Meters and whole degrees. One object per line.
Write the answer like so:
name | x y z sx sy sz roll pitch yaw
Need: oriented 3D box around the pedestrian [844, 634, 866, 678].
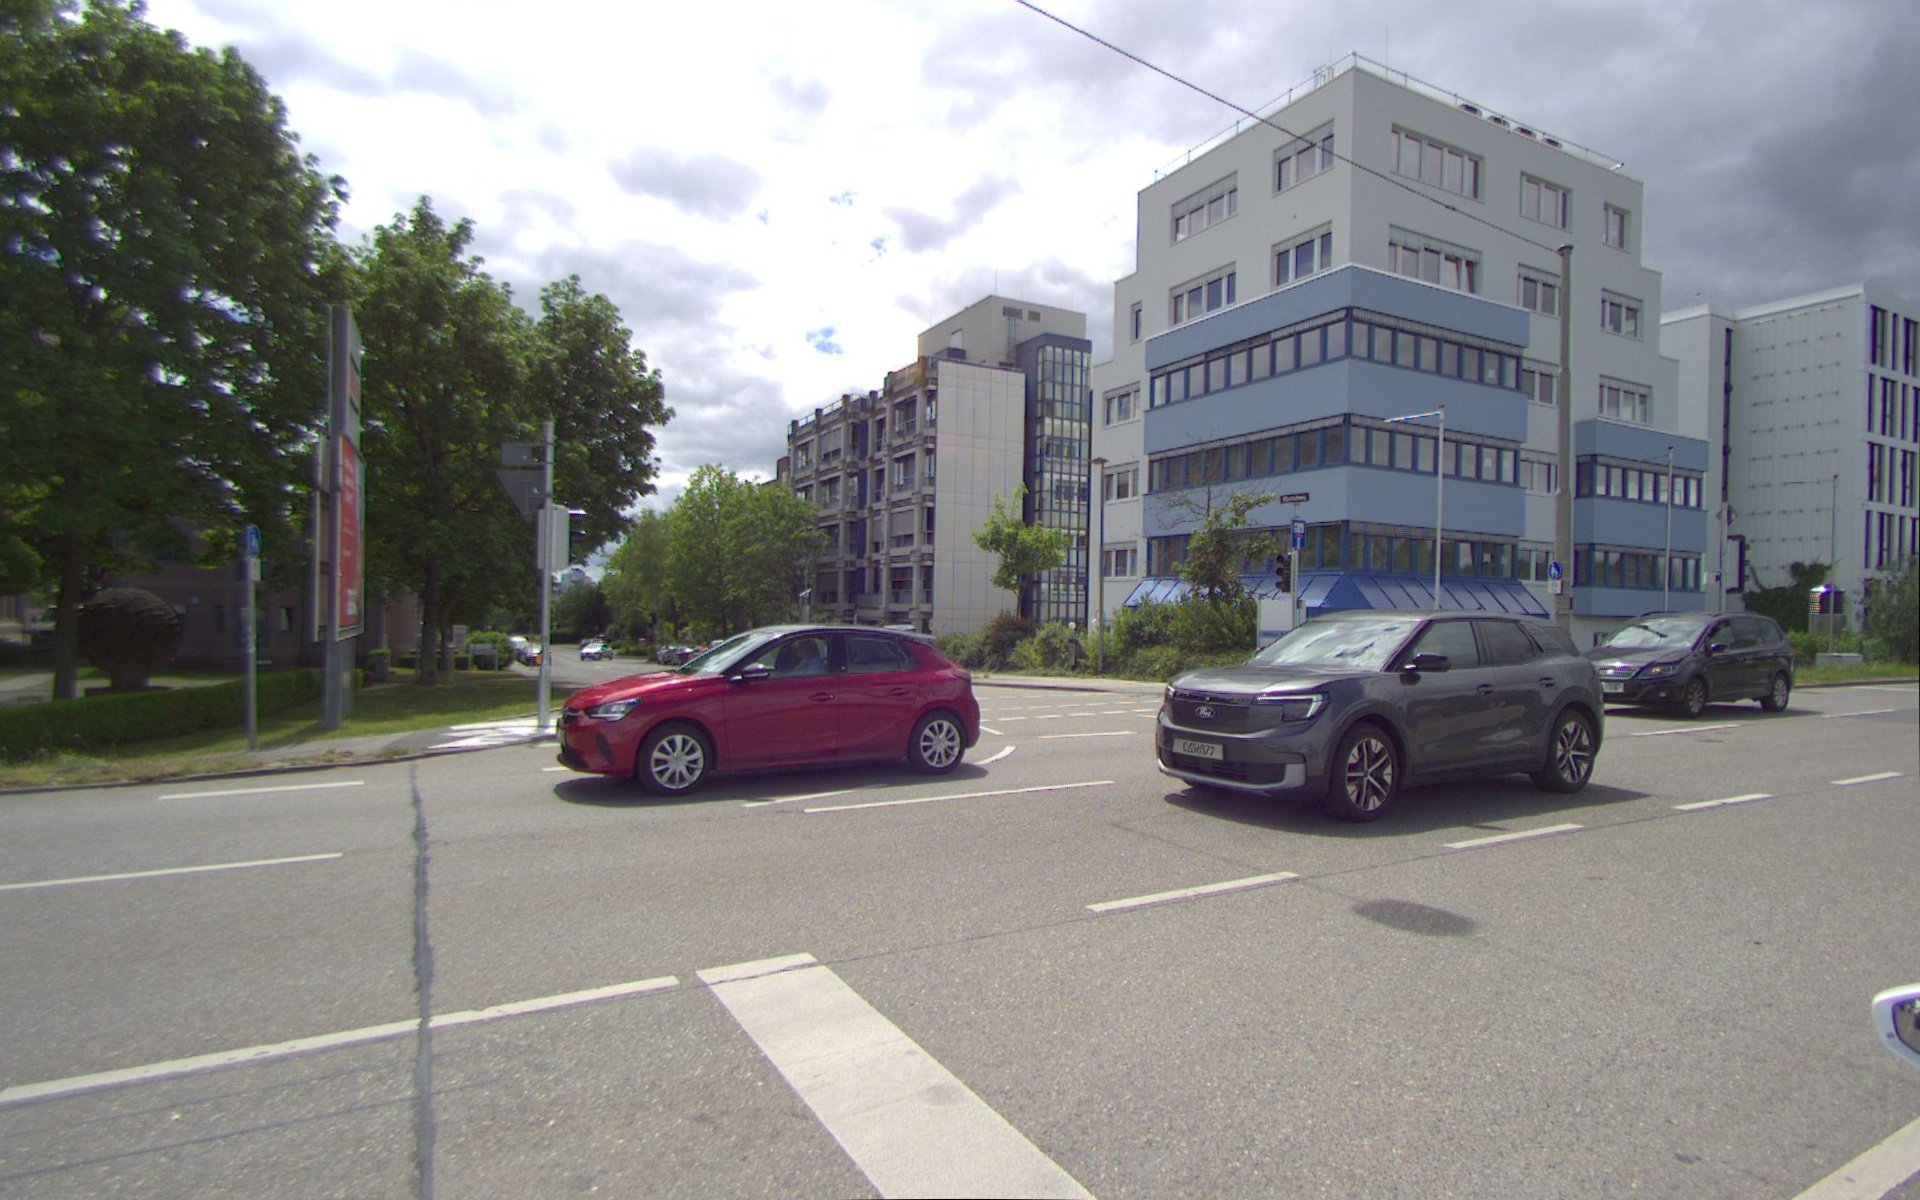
pedestrian | -4.028 2.162 38.607 0.613 1.666 0.745 1 -4 -28

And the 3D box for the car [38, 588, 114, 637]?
car | -43.654 0.585 49.693 1.976 2.272 3.969 1 0 -29

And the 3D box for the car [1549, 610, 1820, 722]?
car | 12.721 1.072 17.590 4.700 1.725 1.986 1 0 -28

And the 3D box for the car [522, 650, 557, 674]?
car | -31.065 4.565 74.187 1.975 1.528 3.970 1 0 -28

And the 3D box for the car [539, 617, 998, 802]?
car | -1.771 0.909 9.580 3.953 1.434 1.772 1 -2 -30

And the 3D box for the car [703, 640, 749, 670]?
car | -14.270 3.355 61.143 1.974 1.715 3.631 1 -4 -26

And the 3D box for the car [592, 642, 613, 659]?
car | -41.958 5.908 117.944 1.973 2.040 3.976 1 -3 -25

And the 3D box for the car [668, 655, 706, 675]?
car | -19.306 4.608 70.965 1.974 1.347 3.631 1 -4 -26

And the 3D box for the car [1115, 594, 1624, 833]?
car | 3.661 0.816 8.839 4.256 1.639 1.984 1 0 -30

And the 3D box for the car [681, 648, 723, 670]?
car | -17.006 3.882 66.200 1.974 1.347 3.631 1 -4 -26

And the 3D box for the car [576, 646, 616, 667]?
car | -31.723 4.912 87.609 1.960 1.528 4.001 1 0 1

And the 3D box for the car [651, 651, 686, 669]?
car | -22.229 4.542 76.422 1.974 1.347 3.631 1 -4 -26
